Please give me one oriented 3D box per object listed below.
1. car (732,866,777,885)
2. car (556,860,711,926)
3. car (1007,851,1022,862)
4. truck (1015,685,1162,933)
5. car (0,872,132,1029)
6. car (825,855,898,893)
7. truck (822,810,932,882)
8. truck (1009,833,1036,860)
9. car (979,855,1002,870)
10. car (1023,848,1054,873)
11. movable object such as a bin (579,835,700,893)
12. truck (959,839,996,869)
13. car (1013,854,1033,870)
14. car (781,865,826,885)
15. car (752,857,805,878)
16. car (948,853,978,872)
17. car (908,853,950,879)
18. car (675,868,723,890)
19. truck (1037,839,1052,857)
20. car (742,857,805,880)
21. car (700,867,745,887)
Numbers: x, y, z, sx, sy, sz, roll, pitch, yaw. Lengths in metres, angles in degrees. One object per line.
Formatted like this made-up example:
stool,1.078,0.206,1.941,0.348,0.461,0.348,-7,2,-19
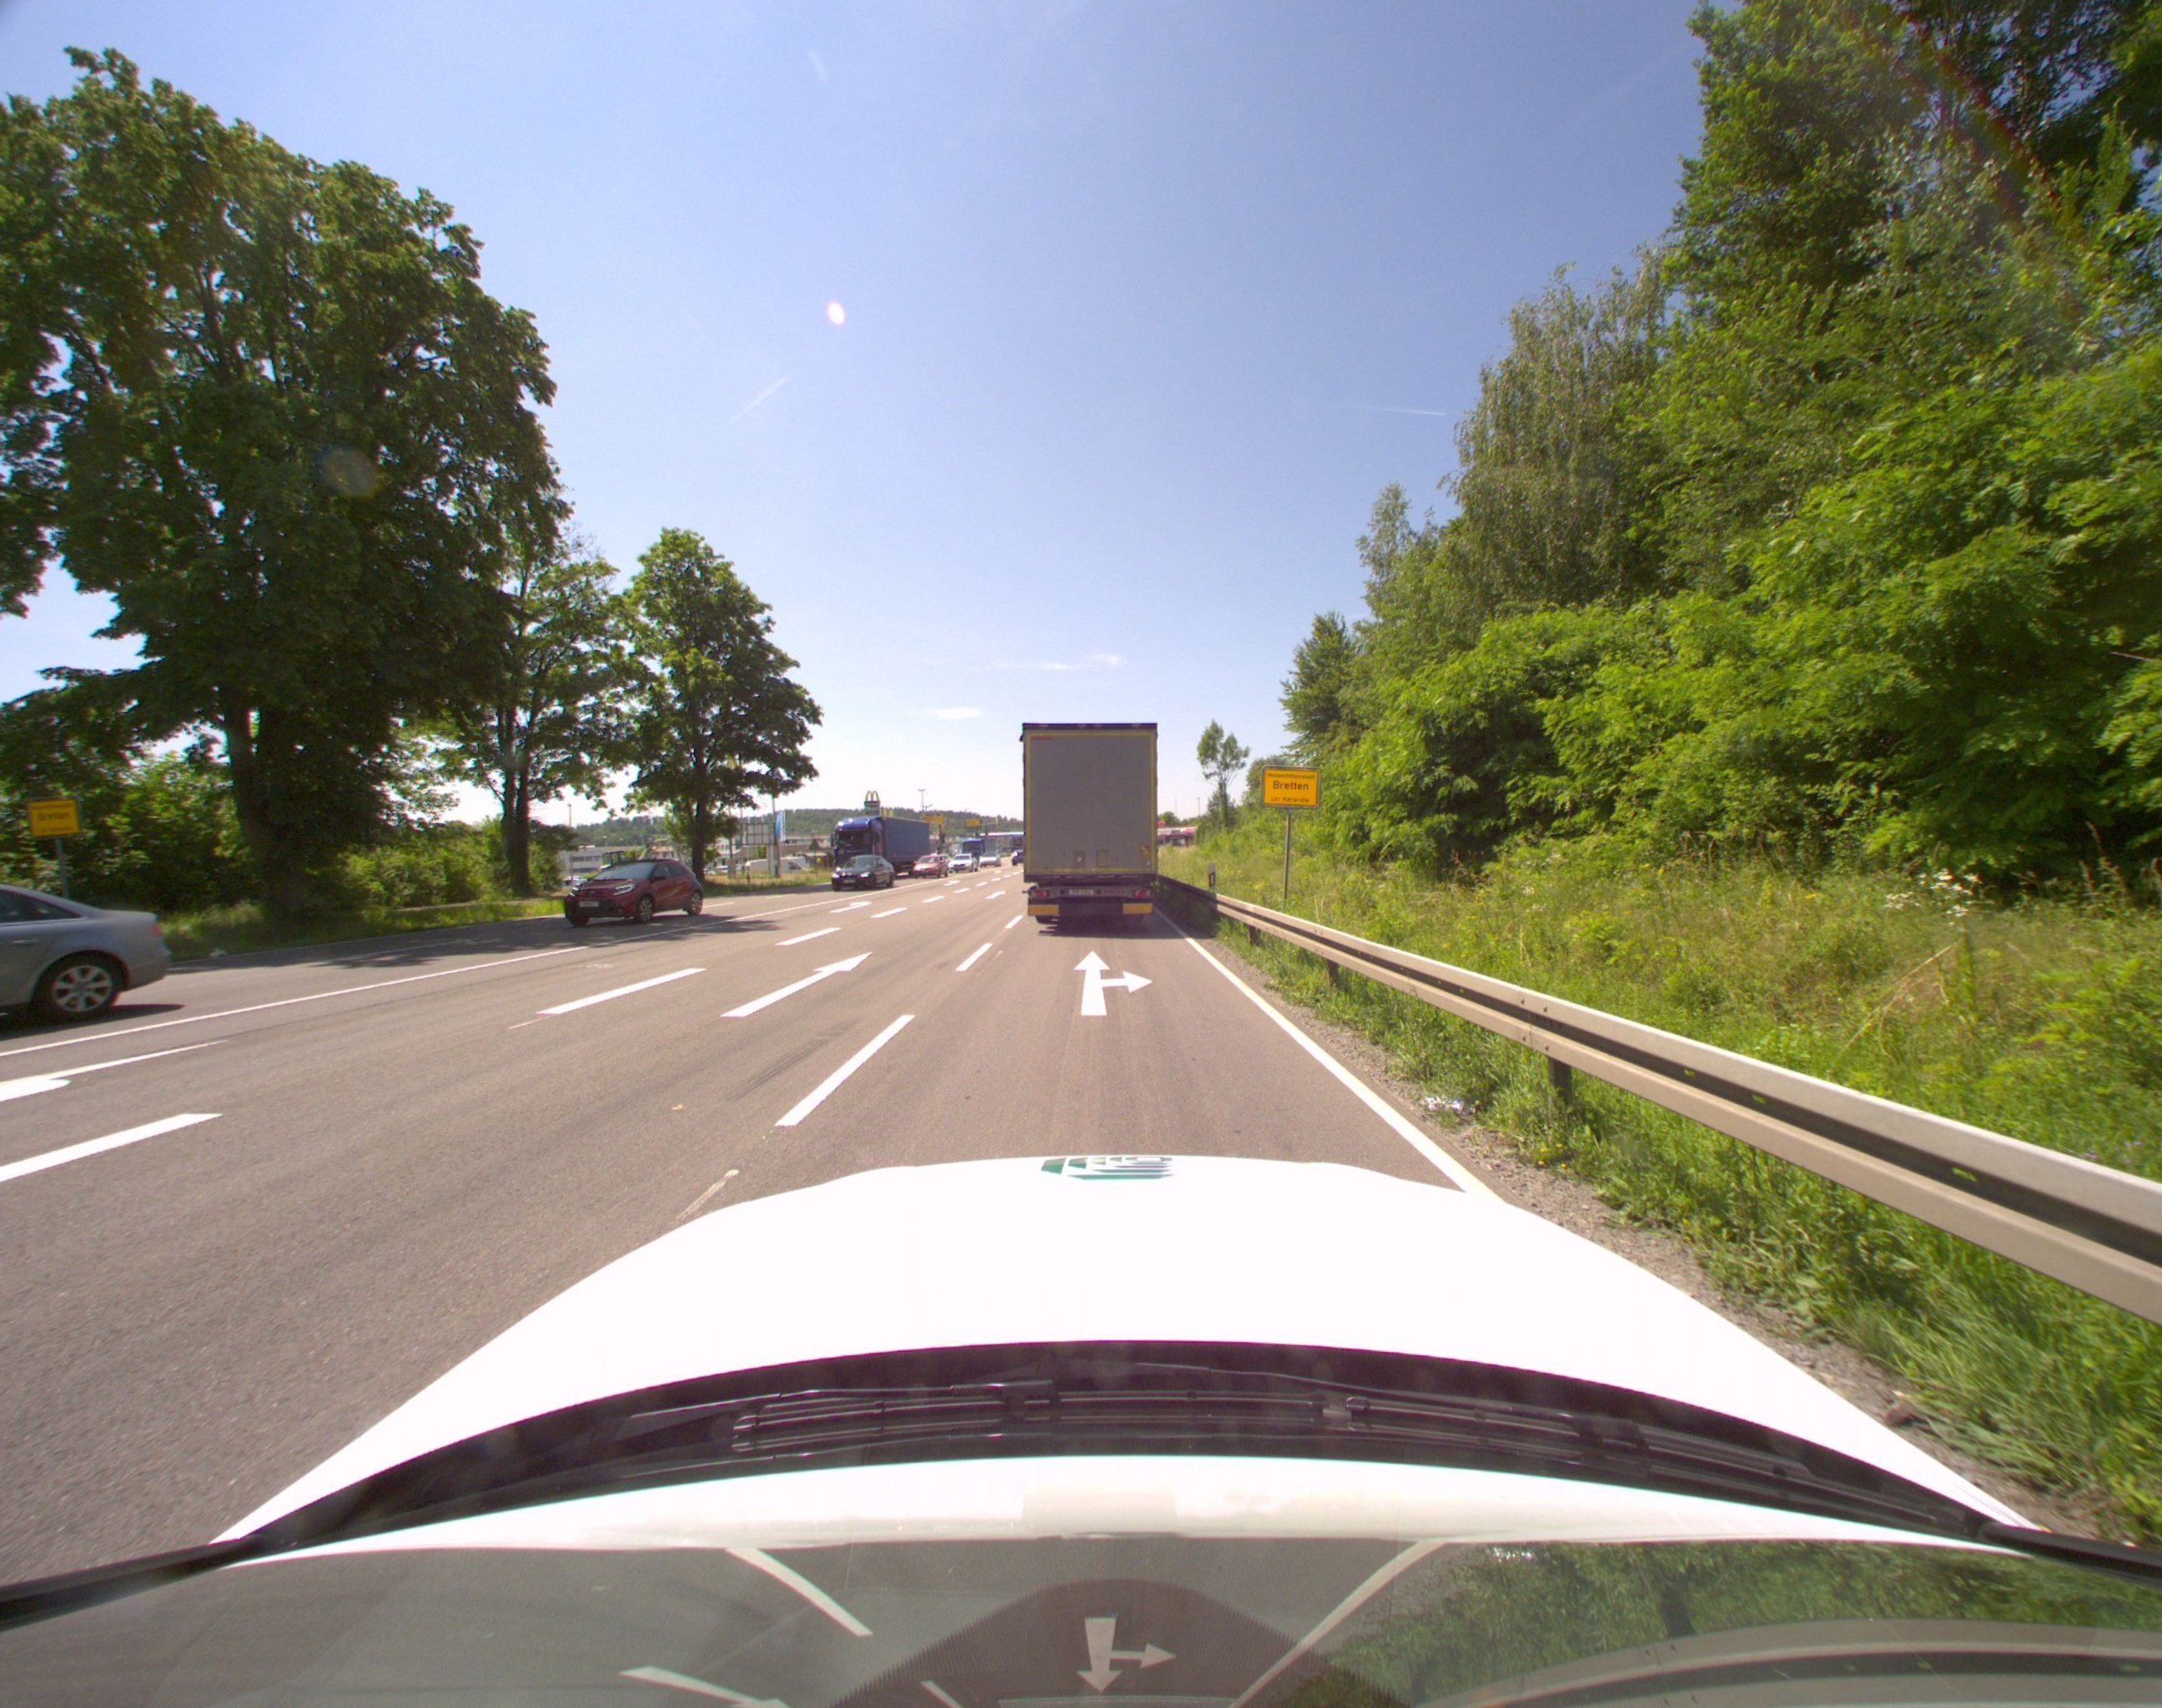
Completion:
car,-28.531,1.886,71.115,3.948,1.618,1.852,-1,0,38
car,-11.030,0.890,20.414,1.636,1.438,4.016,-1,0,0
car,-9.006,0.312,110.664,1.784,1.426,4.261,0,0,-1
truck,0.155,-0.750,23.601,2.747,4.639,16.651,0,-1,0
car,-10.501,0.857,6.218,1.761,1.386,4.000,0,-1,1
car,-9.752,0.855,36.556,1.913,1.481,4.686,-3,-1,0
truck,-13.541,-0.453,56.337,2.957,4.176,16.578,-2,0,1
truck,-10.292,-1.244,145.911,3.135,4.349,17.544,-1,0,1
car,-9.225,0.852,83.151,1.755,1.428,4.181,-2,0,1
car,-3.018,0.452,58.772,1.797,1.670,4.294,0,0,2
movable object such as a bin,-32.053,0.652,59.331,3.014,3.296,6.838,-2,6,42
truck,-12.280,-0.006,97.695,2.837,3.351,11.482,-1,0,1
car,-6.074,0.867,85.998,1.788,1.627,4.367,-1,0,-1
car,-24.695,1.858,72.410,3.948,1.618,1.852,-1,0,38
car,-33.763,1.545,91.053,1.974,2.183,5.226,-2,0,39
car,-9.281,0.641,64.490,1.695,1.415,4.561,-1,0,0
car,-9.482,0.718,51.091,1.761,1.445,3.776,-5,0,1
car,-31.473,2.043,67.075,3.948,1.651,2.013,-1,0,38
truck,-8.256,-1.270,185.641,2.925,3.950,14.233,-2,0,0
car,-29.046,1.381,76.986,5.242,2.013,1.978,-1,0,-36
car,-30.391,1.938,69.088,3.948,1.618,1.852,-1,0,38
